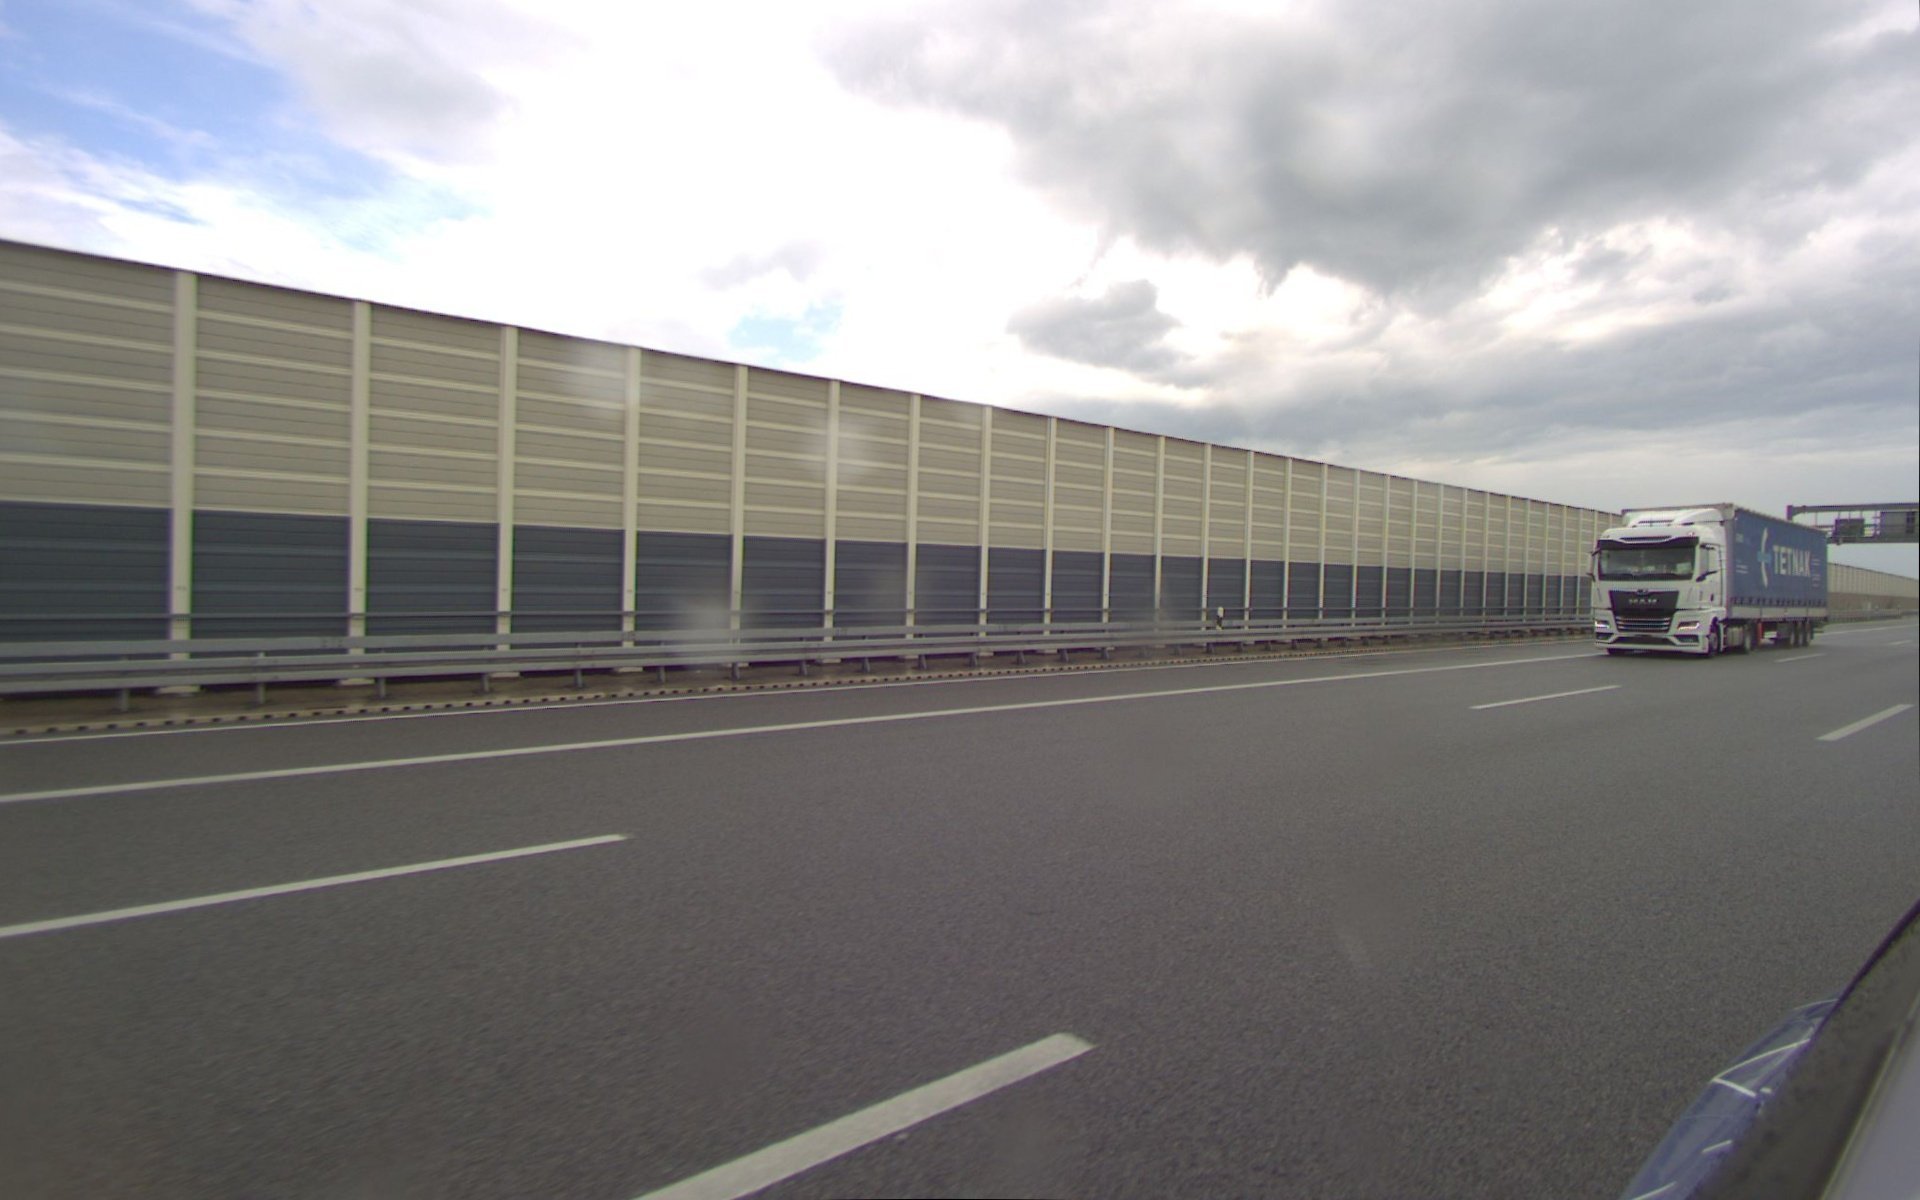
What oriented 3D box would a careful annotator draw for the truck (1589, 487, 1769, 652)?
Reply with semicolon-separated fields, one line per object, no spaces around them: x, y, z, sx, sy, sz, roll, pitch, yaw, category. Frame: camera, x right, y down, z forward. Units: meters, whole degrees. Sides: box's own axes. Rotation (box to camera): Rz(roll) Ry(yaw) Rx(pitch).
19.923;-0.764;27.954;5.624;4.086;2.750;0;0;-40;truck

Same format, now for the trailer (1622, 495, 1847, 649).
25.235;-0.743;32.453;14.196;4.083;2.767;0;0;-40;trailer
